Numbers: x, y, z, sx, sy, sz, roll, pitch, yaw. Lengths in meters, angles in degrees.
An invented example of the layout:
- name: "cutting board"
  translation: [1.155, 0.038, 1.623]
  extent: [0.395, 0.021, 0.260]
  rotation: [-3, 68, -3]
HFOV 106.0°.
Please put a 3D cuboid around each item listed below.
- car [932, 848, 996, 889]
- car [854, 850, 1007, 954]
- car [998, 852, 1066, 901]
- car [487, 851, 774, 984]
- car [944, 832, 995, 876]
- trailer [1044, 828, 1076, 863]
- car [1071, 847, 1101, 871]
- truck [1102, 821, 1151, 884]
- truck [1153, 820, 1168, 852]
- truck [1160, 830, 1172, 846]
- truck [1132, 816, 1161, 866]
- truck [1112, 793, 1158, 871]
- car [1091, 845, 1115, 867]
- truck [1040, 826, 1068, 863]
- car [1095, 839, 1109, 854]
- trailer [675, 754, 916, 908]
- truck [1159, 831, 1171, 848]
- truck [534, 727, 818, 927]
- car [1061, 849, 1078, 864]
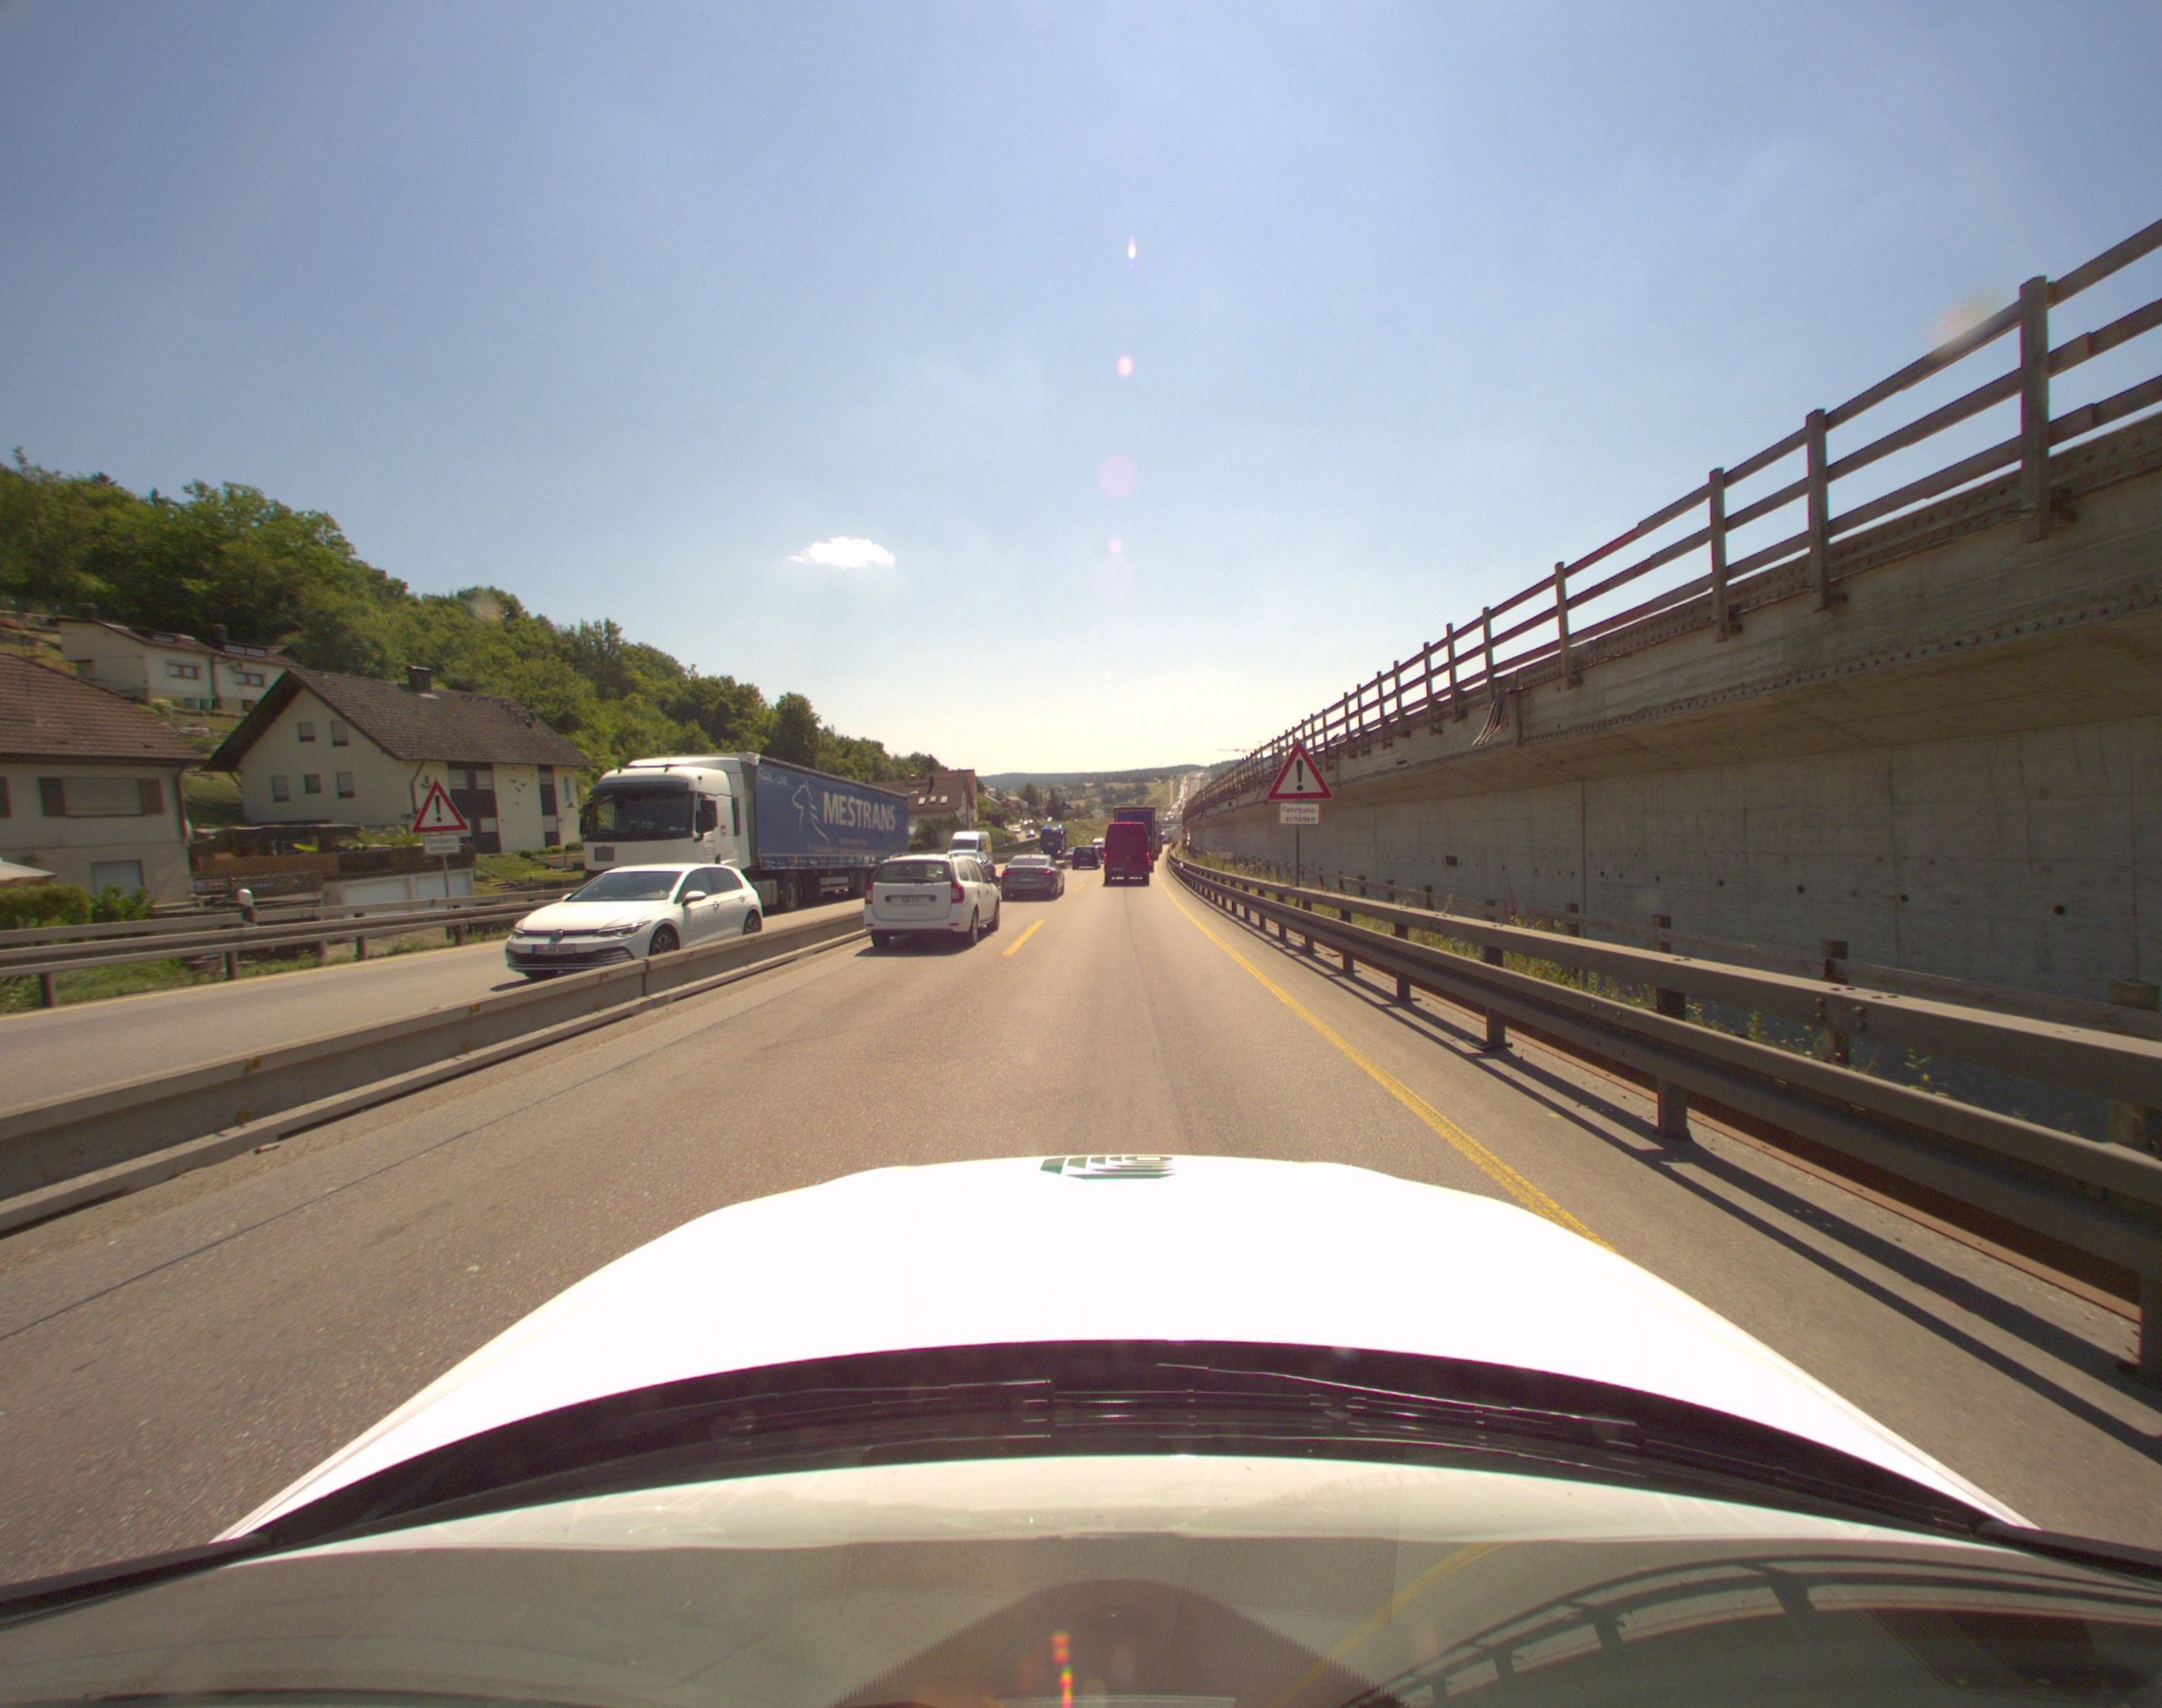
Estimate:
- name: "car"
  translation: [-4.770, 0.548, 33.824]
  extent: [1.843, 1.546, 4.561]
  rotation: [-1, 0, 2]
- name: "car"
  translation: [-2.490, 0.749, 14.531]
  extent: [1.645, 1.483, 4.270]
  rotation: [-3, -1, 3]
- name: "car"
  translation: [-1.532, 0.720, 26.928]
  extent: [1.787, 1.485, 4.052]
  rotation: [0, -1, 3]
- name: "car"
  translation: [-6.139, 0.746, 11.759]
  extent: [1.665, 1.535, 4.193]
  rotation: [-1, 0, 2]
- name: "car"
  translation: [-7.070, -0.039, 52.284]
  extent: [1.996, 2.603, 5.986]
  rotation: [-1, 0, 4]
- name: "trailer"
  translation: [-2.425, -0.924, 98.154]
  extent: [2.496, 3.965, 11.415]
  rotation: [-1, -1, 5]
- name: "car"
  translation: [0.391, 0.382, 57.009]
  extent: [1.802, 1.608, 3.722]
  rotation: [-1, -1, 4]
- name: "truck"
  translation: [2.034, -0.032, 35.919]
  extent: [1.985, 2.579, 4.003]
  rotation: [-1, -1, 3]
- name: "truck"
  translation: [11.462, -2.537, 116.694]
  extent: [1.983, 4.381, 4.007]
  rotation: [-1, -1, 7]
- name: "truck"
  translation: [25.364, -4.787, 242.806]
  extent: [3.449, 4.381, 8.572]
  rotation: [-1, -1, 7]
- name: "truck"
  translation: [6.834, -1.202, 85.191]
  extent: [2.773, 4.816, 9.695]
  rotation: [-1, -1, 4]
- name: "truck"
  translation: [3.737, -1.288, 55.780]
  extent: [2.773, 4.816, 9.695]
  rotation: [-1, -1, 4]
- name: "car"
  translation: [1.951, 0.231, 70.573]
  extent: [1.720, 1.838, 4.007]
  rotation: [-1, -1, 7]
- name: "truck"
  translation: [-3.016, -0.975, 91.767]
  extent: [2.496, 3.965, 5.182]
  rotation: [-1, -1, 5]
- name: "car"
  translation: [3.778, -1.310, 145.581]
  extent: [1.983, 2.507, 5.524]
  rotation: [-1, -1, 6]
- name: "trailer"
  translation: [-8.900, -0.664, 27.805]
  extent: [3.121, 4.079, 11.834]
  rotation: [-1, 0, 5]
- name: "truck"
  translation: [22.797, -3.886, 221.738]
  extent: [3.053, 4.381, 8.572]
  rotation: [-1, -1, 7]
- name: "truck"
  translation: [-9.482, -0.572, 20.246]
  extent: [3.121, 4.079, 6.888]
  rotation: [-1, 0, 4]
- name: "car"
  translation: [-1.123, 0.249, 82.026]
  extent: [1.539, 1.464, 4.628]
  rotation: [-1, 0, 0]
